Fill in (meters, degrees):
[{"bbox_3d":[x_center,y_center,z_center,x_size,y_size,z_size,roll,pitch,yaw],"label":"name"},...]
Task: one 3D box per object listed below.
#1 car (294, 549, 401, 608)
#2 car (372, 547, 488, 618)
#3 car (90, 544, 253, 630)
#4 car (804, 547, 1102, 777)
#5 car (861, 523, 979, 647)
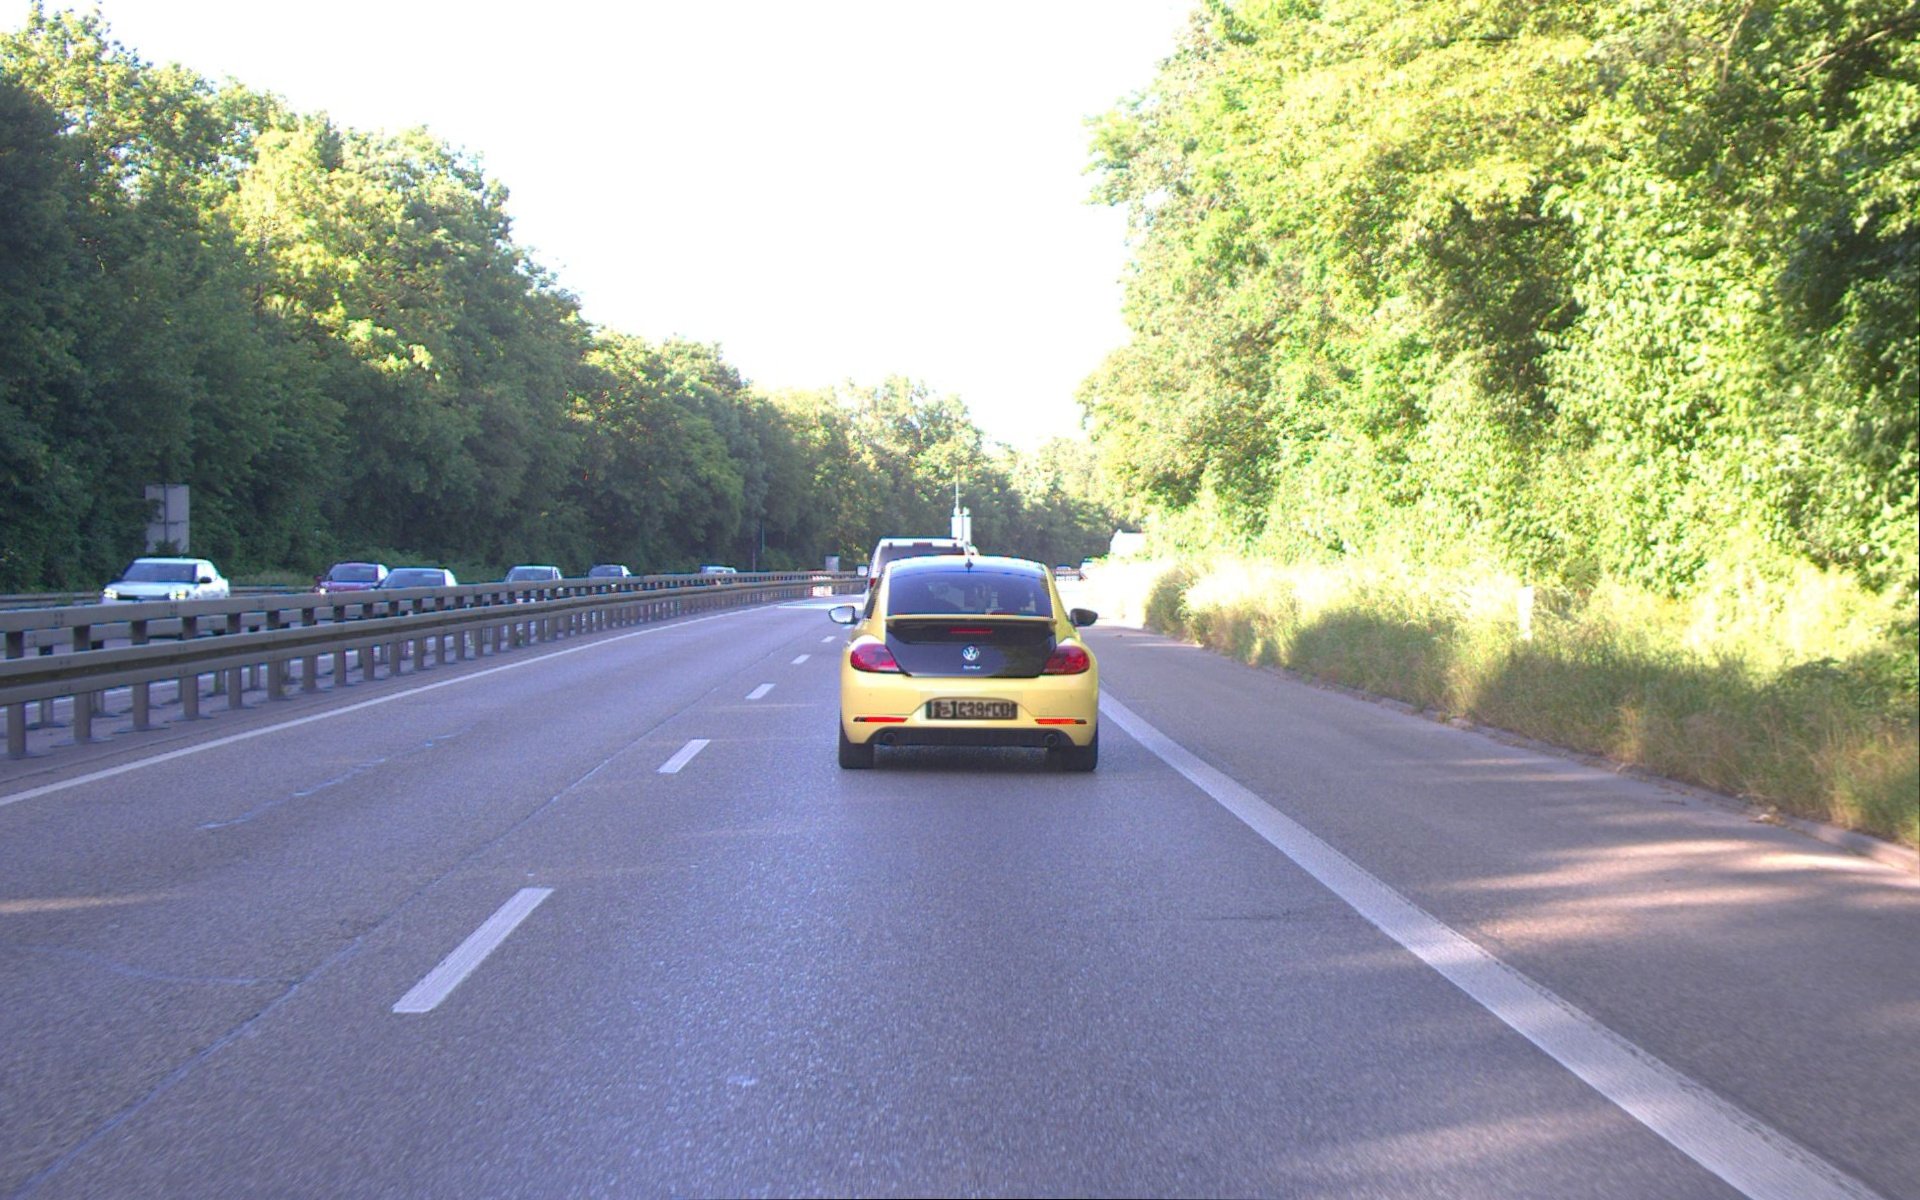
[{"bbox_3d":[-16.054,-0.586,90.304,1.993,1.459,4.000,-2,1,1],"label":"car"},{"bbox_3d":[-11.584,-0.401,75.318,1.724,1.463,4.096,-2,1,2],"label":"car"},{"bbox_3d":[-15.873,-0.287,69.443,1.993,1.617,4.789,-2,1,2],"label":"car"},{"bbox_3d":[0.023,0.389,24.595,1.939,1.503,3.422,1,1,3],"label":"car"},{"bbox_3d":[-0.626,-0.245,53.388,1.741,1.823,3.423,1,1,-1],"label":"car"}]
